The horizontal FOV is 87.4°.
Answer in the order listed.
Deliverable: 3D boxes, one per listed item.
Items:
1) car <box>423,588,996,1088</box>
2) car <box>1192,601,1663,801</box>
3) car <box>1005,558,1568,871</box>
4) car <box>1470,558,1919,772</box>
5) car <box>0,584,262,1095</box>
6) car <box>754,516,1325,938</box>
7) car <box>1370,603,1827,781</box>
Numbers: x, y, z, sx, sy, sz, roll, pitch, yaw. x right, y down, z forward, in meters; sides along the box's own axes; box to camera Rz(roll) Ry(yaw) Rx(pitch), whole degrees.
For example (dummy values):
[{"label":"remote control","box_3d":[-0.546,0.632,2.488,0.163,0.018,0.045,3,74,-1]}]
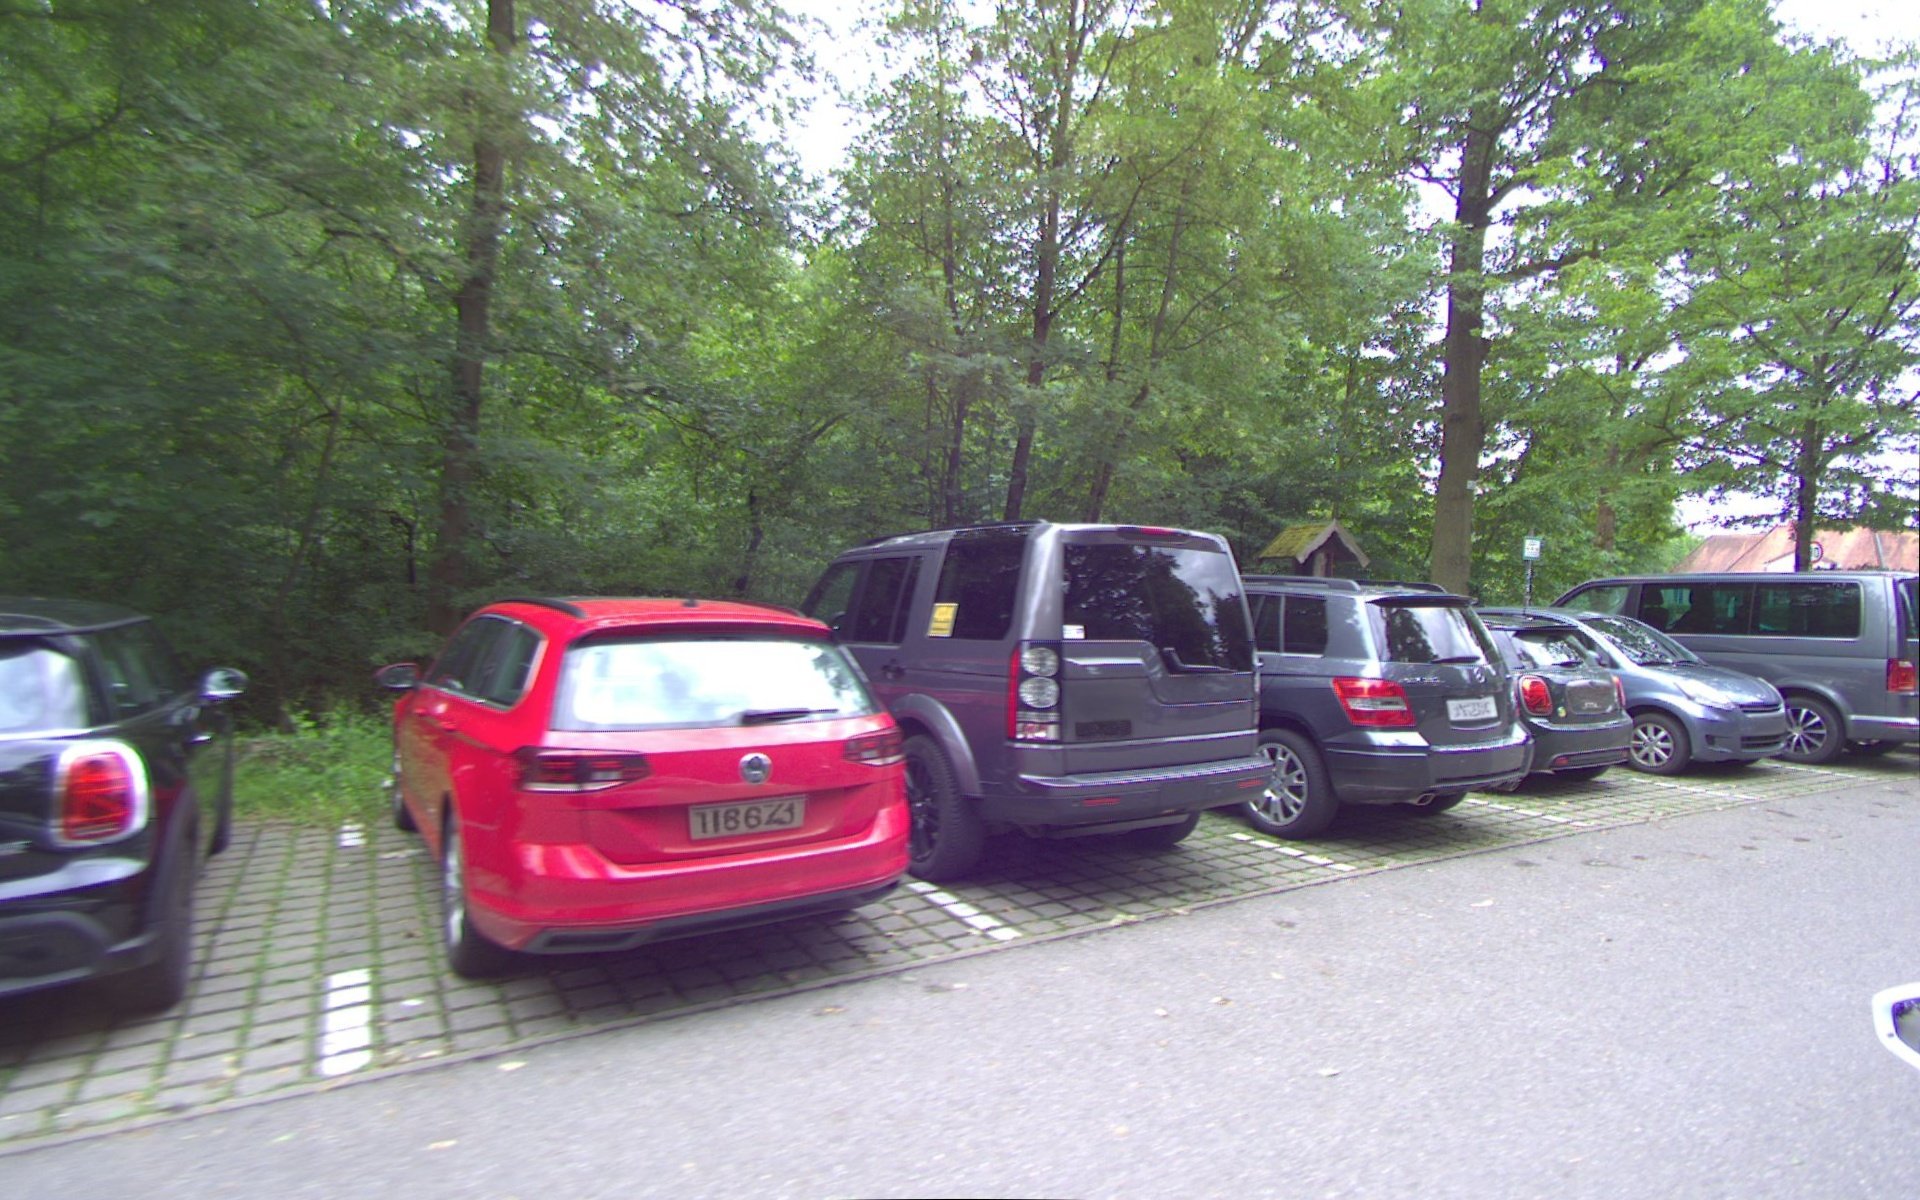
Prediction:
[{"label":"car","box_3d":[-1.661,0.734,5.284,1.760,1.496,3.964,1,1,-33]},{"label":"car","box_3d":[4.320,0.798,9.946,1.700,1.449,3.968,1,1,-30]},{"label":"car","box_3d":[2.229,0.611,7.896,1.804,1.789,3.964,1,1,-32]},{"label":"car","box_3d":[8.652,0.600,11.732,1.870,2.004,4.478,2,0,-32]},{"label":"car","box_3d":[-4.192,0.689,4.452,1.654,1.457,3.963,1,1,-33]},{"label":"car","box_3d":[0.171,0.528,6.655,1.792,1.887,3.966,1,1,-31]},{"label":"car","box_3d":[6.623,0.814,10.861,1.787,1.533,3.799,0,0,-28]}]
